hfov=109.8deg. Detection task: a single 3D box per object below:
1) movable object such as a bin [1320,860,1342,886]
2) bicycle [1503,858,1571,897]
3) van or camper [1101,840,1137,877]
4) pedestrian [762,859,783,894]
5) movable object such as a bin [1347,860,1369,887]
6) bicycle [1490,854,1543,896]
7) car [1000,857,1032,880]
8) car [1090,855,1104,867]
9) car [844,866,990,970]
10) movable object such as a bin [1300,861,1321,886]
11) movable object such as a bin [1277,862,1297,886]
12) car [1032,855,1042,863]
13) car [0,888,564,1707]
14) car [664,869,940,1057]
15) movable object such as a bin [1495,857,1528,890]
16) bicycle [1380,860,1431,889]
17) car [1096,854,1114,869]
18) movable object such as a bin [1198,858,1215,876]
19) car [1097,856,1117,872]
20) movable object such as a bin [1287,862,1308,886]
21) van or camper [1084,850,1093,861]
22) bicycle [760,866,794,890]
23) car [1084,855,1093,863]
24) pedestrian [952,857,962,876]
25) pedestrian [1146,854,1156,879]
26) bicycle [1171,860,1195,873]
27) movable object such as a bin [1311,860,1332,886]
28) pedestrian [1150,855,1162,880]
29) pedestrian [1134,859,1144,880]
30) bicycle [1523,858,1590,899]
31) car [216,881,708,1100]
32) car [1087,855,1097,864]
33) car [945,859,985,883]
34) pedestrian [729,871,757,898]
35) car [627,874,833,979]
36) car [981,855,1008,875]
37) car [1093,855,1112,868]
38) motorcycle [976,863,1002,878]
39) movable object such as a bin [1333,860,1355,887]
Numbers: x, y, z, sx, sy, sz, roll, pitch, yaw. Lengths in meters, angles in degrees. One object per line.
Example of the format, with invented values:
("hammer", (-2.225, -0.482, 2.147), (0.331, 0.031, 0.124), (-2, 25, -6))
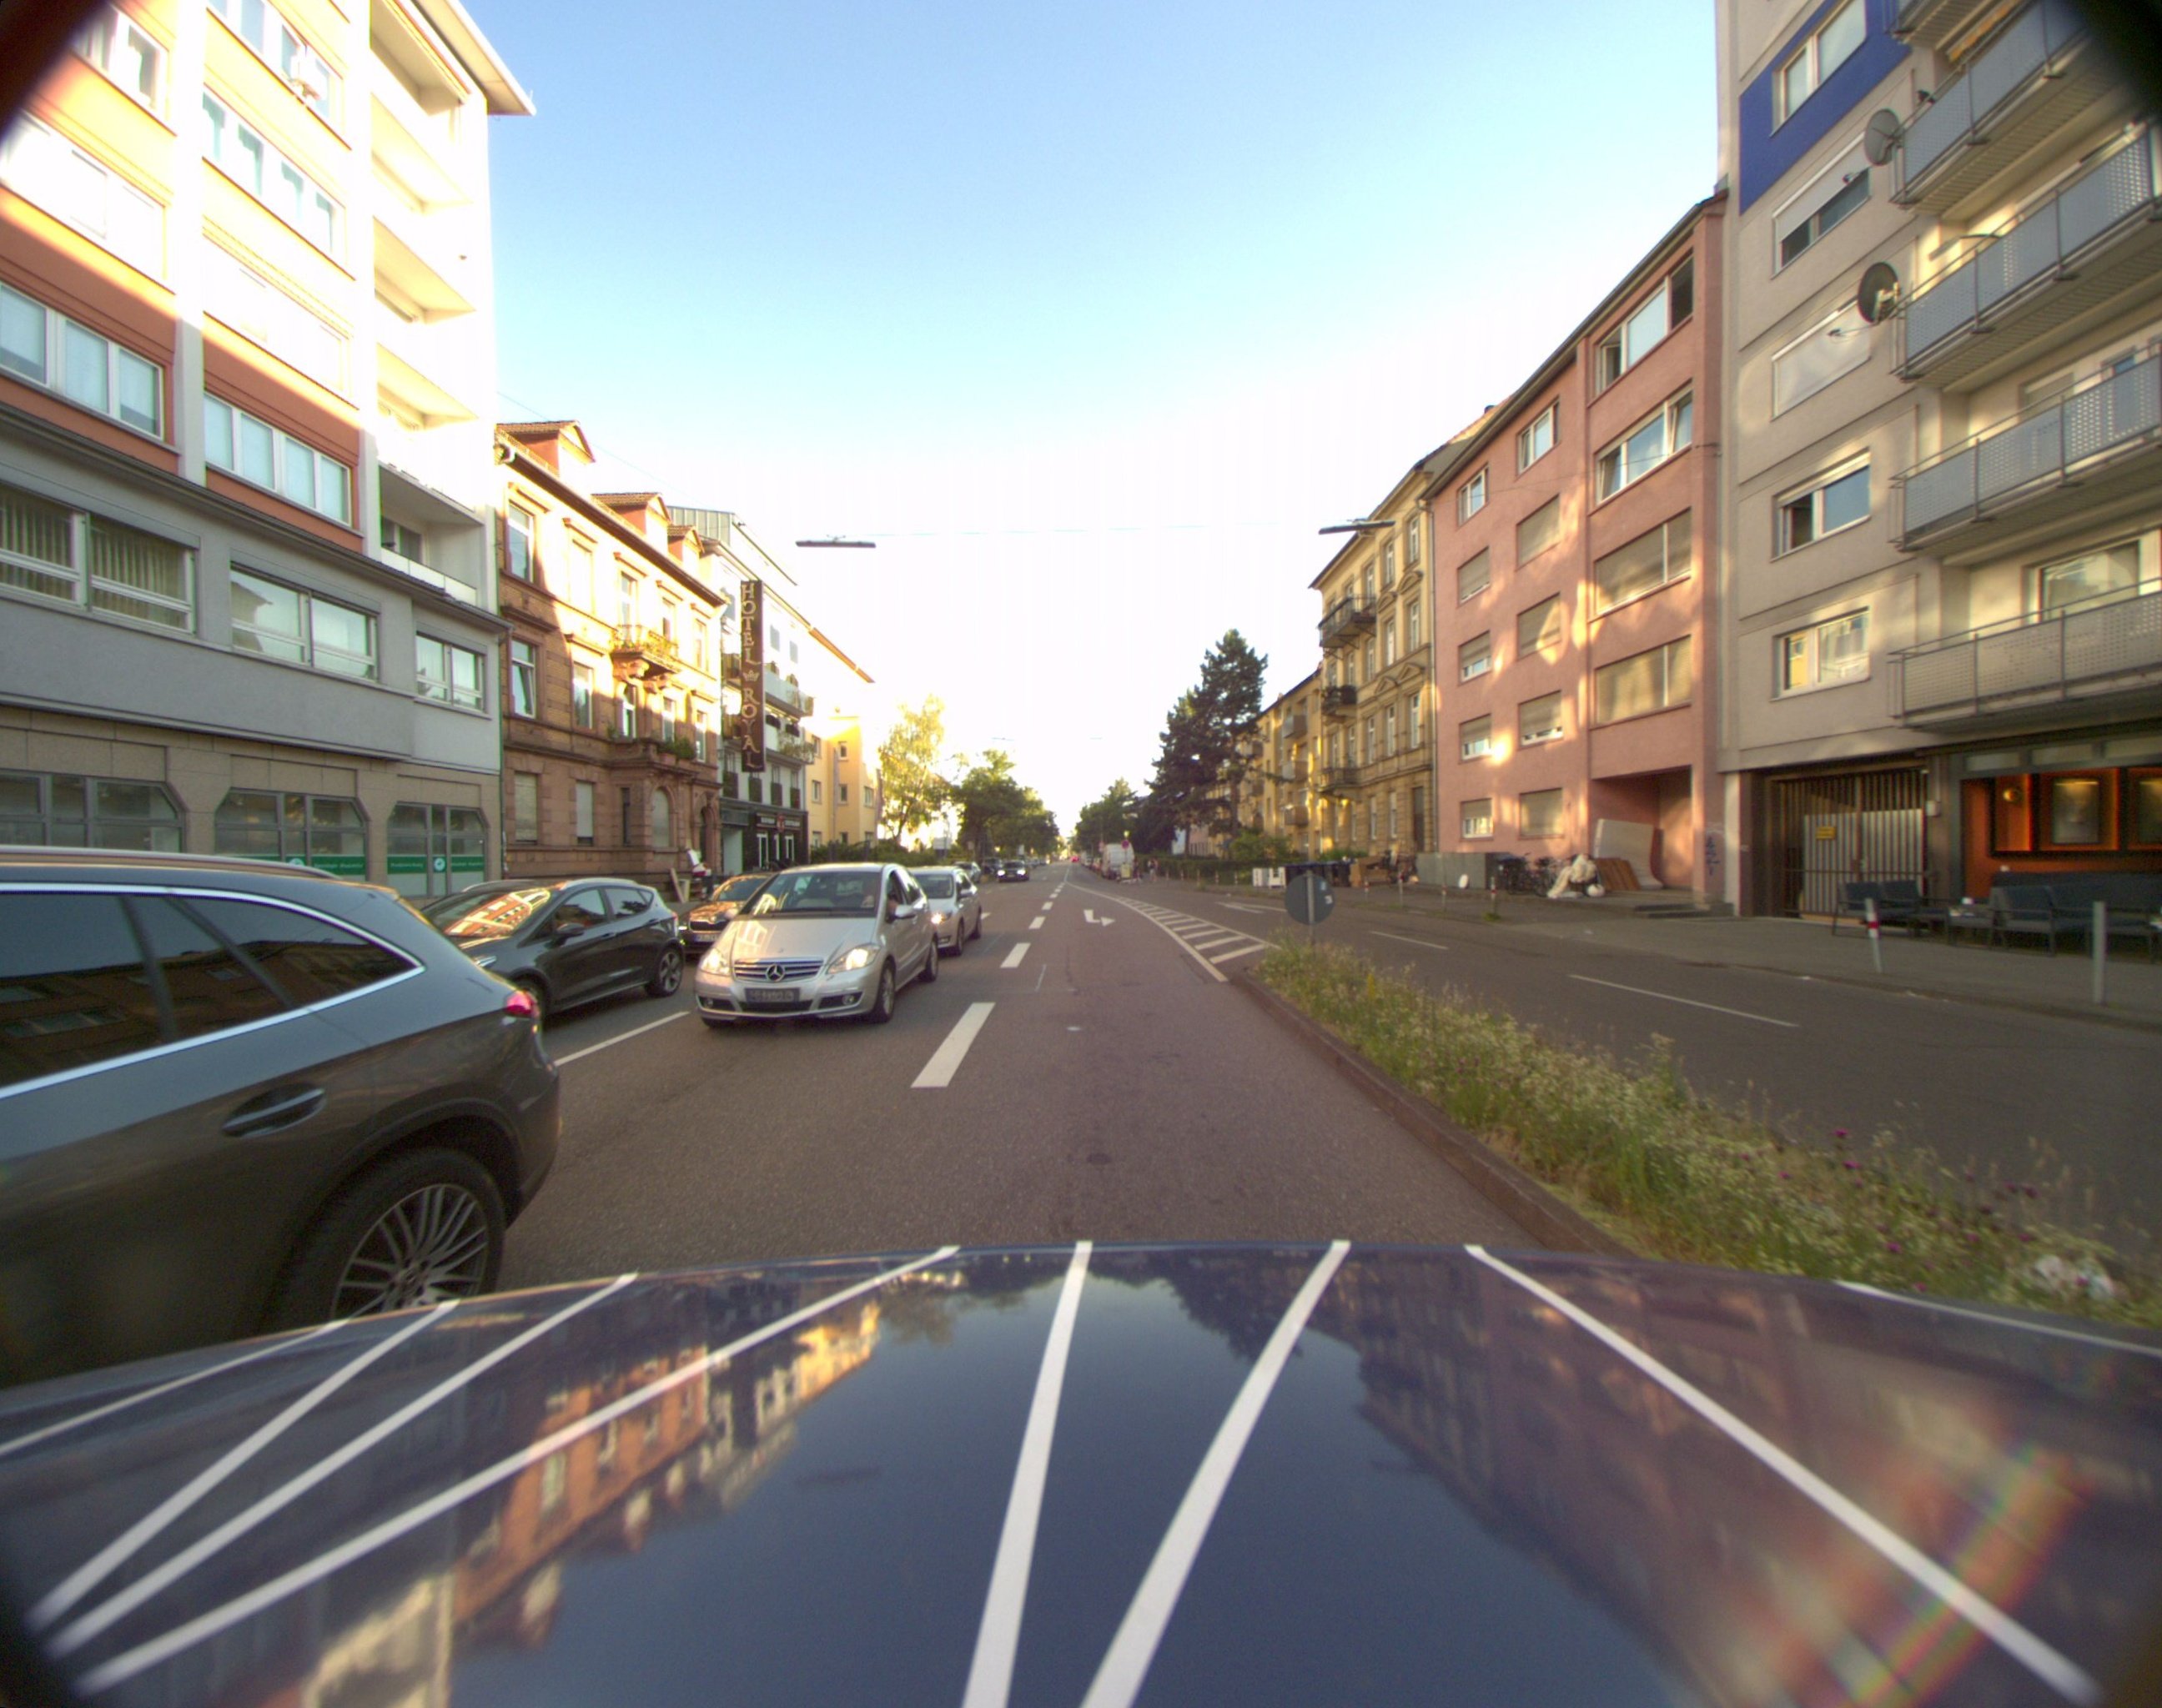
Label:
("movable object such as a bin", (10.927, 0.826, 33.196), (0.643, 1.104, 0.582), (-4, 2, -31))
("bicycle", (12.985, 0.654, 21.652), (1.675, 1.035, 0.549), (-2, 1, -7))
("van or camper", (2.890, 0.360, 59.471), (2.041, 2.648, 6.014), (-3, 0, -3))
("pedestrian", (-14.510, 1.060, 35.752), (0.709, 1.633, 0.693), (-1, 0, -1))
("movable object such as a bin", (11.736, 0.805, 32.213), (0.643, 1.104, 0.582), (-4, 2, -31))
("bicycle", (12.879, 0.602, 22.456), (1.677, 1.153, 0.495), (-2, 1, -26))
("car", (-4.574, 1.031, 54.118), (1.999, 1.525, 3.999), (-1, 0, -2))
("car", (2.112, 0.898, 102.091), (1.842, 1.508, 4.315), (-2, 0, 0))
("car", (-2.796, 1.025, 13.930), (1.712, 1.501, 4.308), (-2, 0, 0))
("movable object such as a bin", (10.385, 0.870, 34.389), (0.643, 1.104, 0.582), (-4, 2, -31))
("movable object such as a bin", (9.658, 0.950, 35.573), (0.643, 1.077, 0.582), (-4, 2, -31))
("car", (-8.732, 0.973, 150.533), (1.798, 1.577, 3.999), (0, 0, -3))
("car", (-2.820, 0.949, 0.604), (1.788, 1.623, 4.478), (-1, 0, -1))
("car", (-2.789, 0.994, 8.507), (1.808, 1.559, 3.618), (-1, 0, -1))
("movable object such as a bin", (13.655, 0.612, 24.110), (0.676, 1.026, 0.589), (-1, 1, -1))
("bicycle", (12.816, 0.800, 30.070), (1.653, 0.961, 0.662), (-6, 1, -2))
("car", (2.652, 0.864, 84.700), (1.781, 1.579, 4.185), (-2, 0, 0))
("movable object such as a bin", (7.652, 0.795, 46.363), (0.869, 1.044, 0.769), (-4, 1, -2))
("car", (2.458, 0.945, 73.507), (1.721, 1.443, 3.923), (-2, 0, -1))
("movable object such as a bin", (9.950, 0.922, 34.973), (0.643, 1.062, 0.626), (-4, 2, -31))
("van or camper", (1.596, 0.334, 168.368), (1.918, 2.528, 5.334), (-1, 0, -1))
("bicycle", (-14.381, 1.153, 35.948), (1.427, 1.104, 0.488), (2, 0, -18))
("car", (1.599, 0.942, 154.471), (1.808, 1.489, 3.956), (-1, 0, 1))
("pedestrian", (-10.559, 1.030, 64.574), (0.748, 1.606, 0.579), (-1, 1, -2))
("pedestrian", (4.653, 0.819, 50.334), (0.481, 1.642, 0.725), (-1, 0, -7))
("bicycle", (7.799, 0.961, 58.058), (1.763, 0.976, 0.590), (-2, 0, 0))
("movable object such as a bin", (10.713, 0.851, 33.829), (0.643, 1.104, 0.582), (-4, 2, -31))
("pedestrian", (4.918, 0.862, 49.602), (0.606, 1.642, 0.696), (-1, 1, -7))
("pedestrian", (3.870, 1.056, 50.619), (0.560, 1.370, 0.480), (-2, 1, -6))
("bicycle", (13.030, 0.647, 20.823), (1.676, 1.035, 0.549), (-2, 1, -15))
("car", (-5.783, 1.124, 7.948), (1.655, 1.476, 4.239), (-2, 0, 0))
("car", (1.918, 0.947, 130.615), (1.684, 1.434, 3.881), (-2, 0, 1))
("car", (-7.686, 1.097, 50.857), (1.860, 1.503, 4.834), (1, 0, 1))
("pedestrian", (-13.721, 1.224, 30.849), (0.692, 1.037, 0.945), (-1, 0, 3))
("car", (-5.931, 1.139, 13.446), (1.712, 1.448, 4.158), (-1, 0, 0))
("car", (-7.591, 0.914, 66.884), (1.953, 1.645, 4.795), (-1, 0, -1))
("car", (2.518, 0.884, 89.693), (1.999, 1.439, 4.457), (-1, 0, -1))
("motorcycle", (-7.051, 1.283, 58.293), (1.932, 1.065, 0.819), (-1, 0, -12))
("movable object such as a bin", (11.309, 0.828, 32.723), (0.643, 1.104, 0.582), (-4, 2, -31))
